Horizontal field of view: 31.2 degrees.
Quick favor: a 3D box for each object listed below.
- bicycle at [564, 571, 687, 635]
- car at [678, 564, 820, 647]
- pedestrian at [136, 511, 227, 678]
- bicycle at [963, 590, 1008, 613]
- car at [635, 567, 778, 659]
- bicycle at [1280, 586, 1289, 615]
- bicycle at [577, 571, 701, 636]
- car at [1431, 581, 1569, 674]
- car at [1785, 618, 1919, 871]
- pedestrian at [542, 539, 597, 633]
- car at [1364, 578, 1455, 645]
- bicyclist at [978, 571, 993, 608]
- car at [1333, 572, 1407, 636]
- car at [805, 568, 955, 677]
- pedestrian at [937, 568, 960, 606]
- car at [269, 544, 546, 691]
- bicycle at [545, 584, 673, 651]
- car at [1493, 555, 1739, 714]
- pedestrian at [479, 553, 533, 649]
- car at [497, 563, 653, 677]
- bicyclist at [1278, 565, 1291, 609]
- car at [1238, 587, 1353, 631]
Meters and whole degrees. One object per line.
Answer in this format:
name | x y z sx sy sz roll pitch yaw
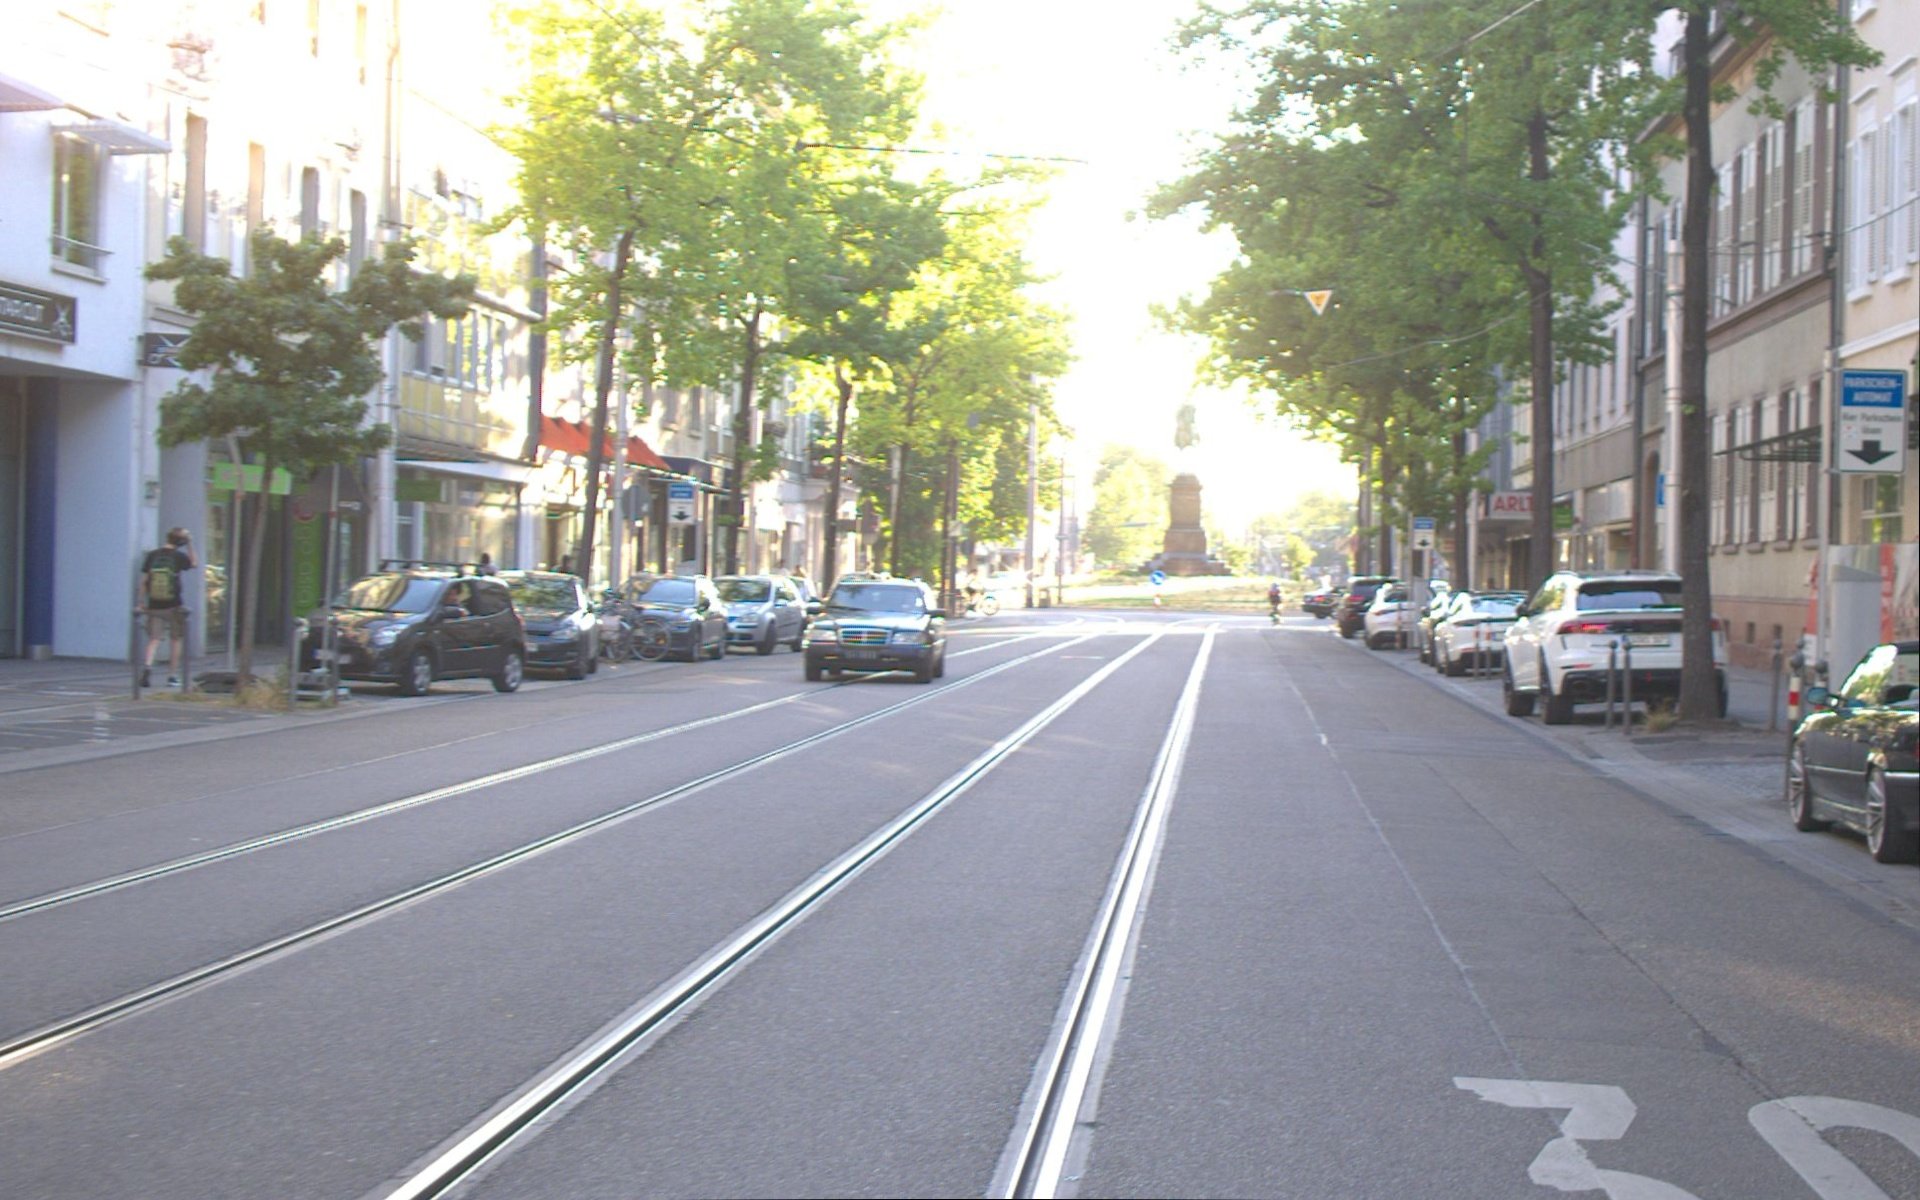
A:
bicycle | -5.493 0.045 56.447 1.971 0.998 0.330 1 0 7
car | -3.986 0.097 65.555 1.768 1.492 4.173 2 0 10
pedestrian | -8.786 -0.063 38.814 0.660 1.819 0.878 4 1 5
bicycle | 1.004 0.049 134.068 1.732 0.861 0.367 1 1 6
car | -4.351 0.192 59.553 1.712 1.456 4.485 3 1 5
bicycle | 11.016 0.016 116.685 0.264 0.979 1.338 1 1 5
bicycle | -5.225 0.057 56.035 1.971 0.998 0.330 1 0 8
car | 8.937 0.431 57.236 1.913 1.416 4.887 -1 1 5
car | 6.229 0.788 20.757 1.794 1.307 4.329 -1 0 5
pedestrian | -7.051 -0.255 62.154 0.844 1.687 0.740 1 1 4
car | 10.862 0.258 83.357 1.994 1.493 4.679 -2 1 6
bicyclist | 1.007 -0.401 134.027 0.536 1.433 0.367 1 1 5
car | 12.038 0.085 101.171 1.938 1.753 4.679 -2 0 5
car | -1.072 0.276 48.114 1.779 1.402 4.527 1 1 3
pedestrian | -0.388 -0.450 119.298 0.728 1.286 0.856 2 1 2
car | -6.585 0.191 41.315 1.632 1.610 3.704 3 1 20
bicycle | -5.550 0.272 54.365 1.971 0.998 0.330 1 0 8
car | 7.459 0.366 39.567 1.998 1.682 4.967 -1 0 2
pedestrian | -8.179 0.012 61.968 0.789 1.687 0.913 1 1 4
car | -5.493 0.249 49.517 1.792 1.485 4.243 3 1 -1
bicyclist | 11.011 -0.436 116.684 0.428 1.476 0.466 1 1 5
car | 13.907 0.362 142.271 4.675 1.678 1.999 1 1 7
